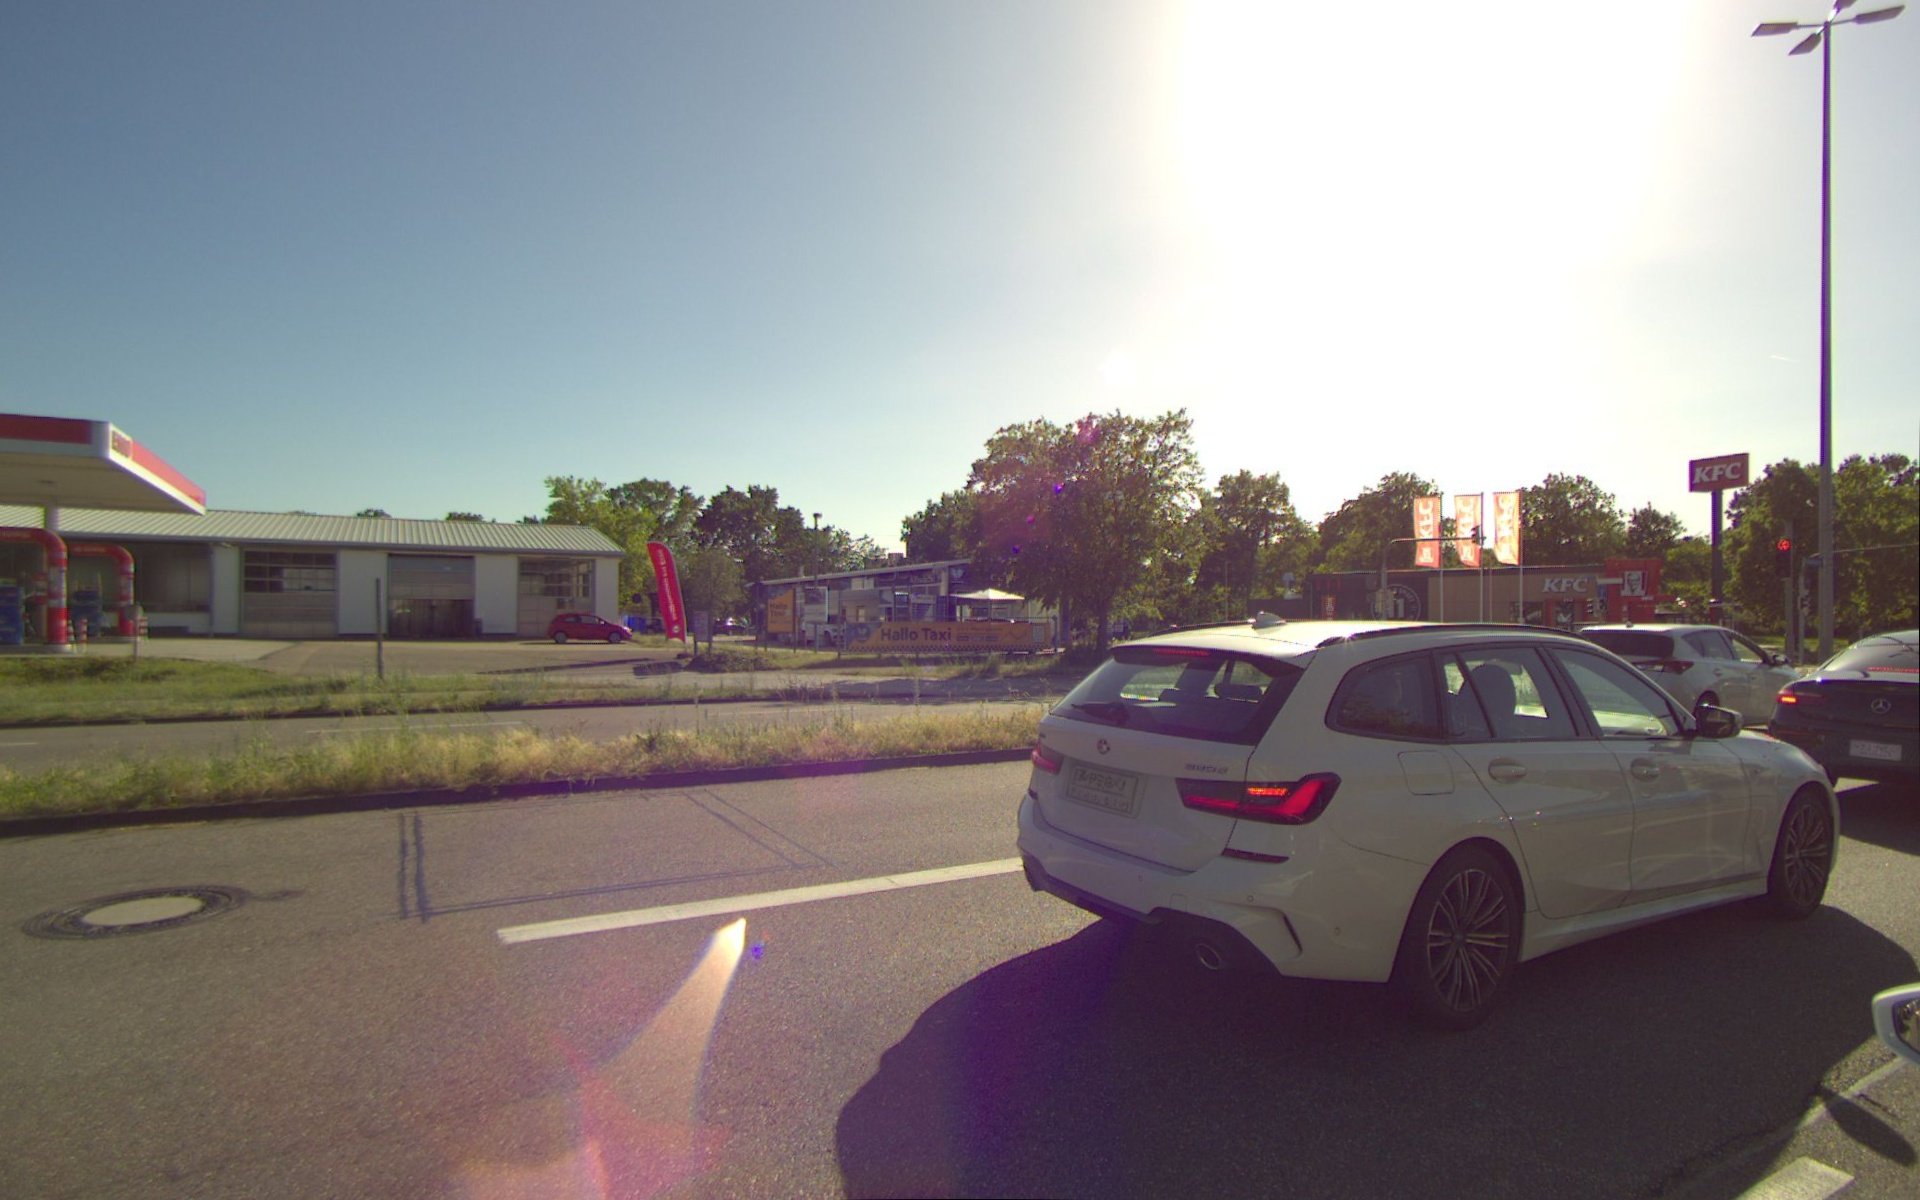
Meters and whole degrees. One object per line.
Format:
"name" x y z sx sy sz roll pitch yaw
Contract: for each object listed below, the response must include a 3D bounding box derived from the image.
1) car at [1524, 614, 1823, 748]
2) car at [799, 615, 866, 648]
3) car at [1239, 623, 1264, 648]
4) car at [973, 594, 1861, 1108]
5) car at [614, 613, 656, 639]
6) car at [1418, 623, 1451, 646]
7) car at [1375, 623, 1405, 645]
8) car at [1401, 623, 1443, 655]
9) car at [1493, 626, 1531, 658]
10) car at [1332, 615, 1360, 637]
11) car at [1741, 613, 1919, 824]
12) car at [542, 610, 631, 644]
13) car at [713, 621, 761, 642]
"car" 9.578 1.001 13.416 4.150 1.510 1.750 2 0 -31
"car" -6.790 1.646 53.139 1.978 1.584 3.964 2 0 -32
"car" 21.804 2.622 75.152 1.629 1.695 3.945 2 0 18
"car" 2.380 0.797 4.872 4.353 1.510 1.776 2 0 -31
"car" -19.344 1.545 59.755 1.634 1.383 3.744 2 0 -29
"car" 33.927 2.455 71.946 1.629 1.491 3.919 2 0 18
"car" 31.295 2.445 73.219 1.629 1.491 3.919 2 0 18
"car" 28.337 2.343 61.518 1.964 1.788 4.349 2 0 29
"car" 33.083 2.474 60.201 1.880 1.776 4.349 2 0 29
"car" 28.283 1.894 73.654 1.629 1.491 3.919 2 0 18
"car" 8.771 0.930 8.636 4.425 1.510 1.787 2 0 -31
"car" -18.353 1.335 49.402 3.946 1.537 1.772 2 0 -25
"car" -19.431 2.721 87.642 3.929 1.634 1.996 2 0 -11
